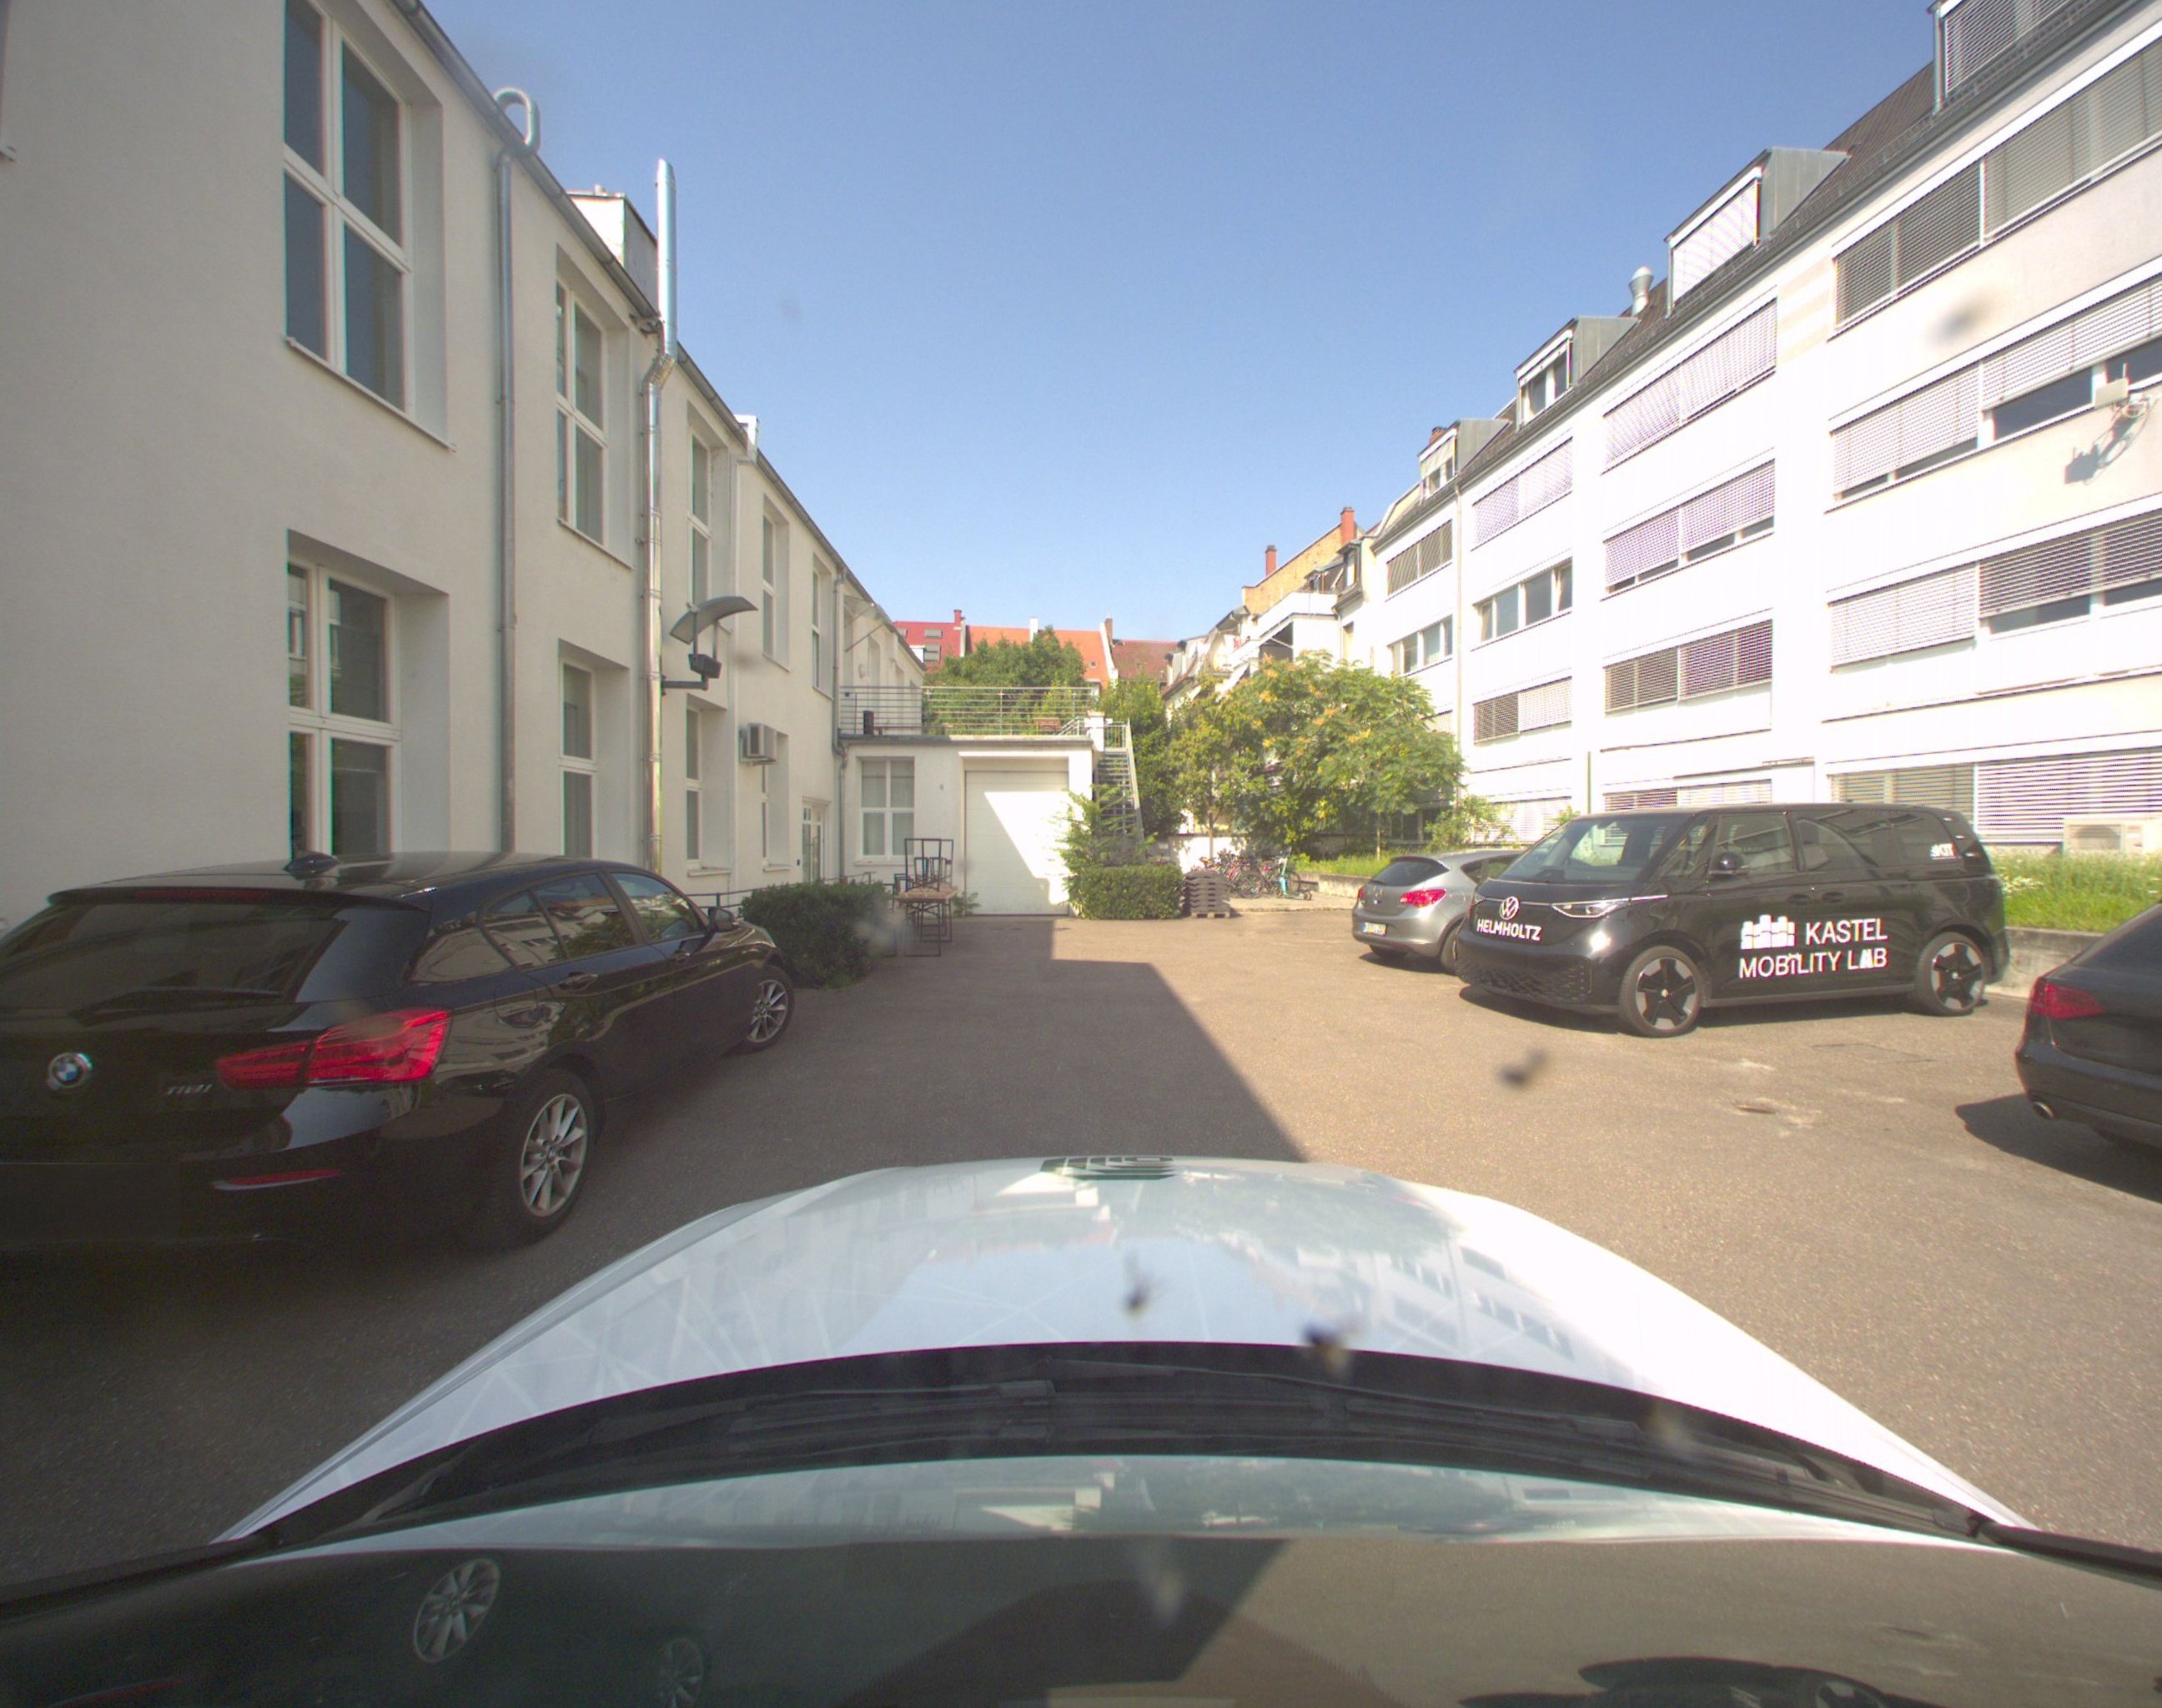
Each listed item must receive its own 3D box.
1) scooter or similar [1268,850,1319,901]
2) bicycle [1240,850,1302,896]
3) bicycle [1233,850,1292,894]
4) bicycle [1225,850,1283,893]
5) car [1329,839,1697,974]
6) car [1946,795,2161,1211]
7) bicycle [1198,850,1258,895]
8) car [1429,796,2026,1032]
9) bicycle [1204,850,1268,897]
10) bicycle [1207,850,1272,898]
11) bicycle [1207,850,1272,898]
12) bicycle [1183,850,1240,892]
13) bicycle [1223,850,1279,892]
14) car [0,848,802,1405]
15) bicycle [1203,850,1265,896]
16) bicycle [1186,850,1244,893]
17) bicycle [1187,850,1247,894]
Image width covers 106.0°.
[{"bbox_3d":[5.431,0.524,20.880,0.381,1.261,1.335,-1,0,-33],"label":"scooter or similar"},{"bbox_3d":[5.147,0.515,22.081,1.612,1.214,0.328,-1,0,13],"label":"bicycle"},{"bbox_3d":[5.103,0.514,22.940,1.612,1.214,0.425,-1,0,11],"label":"bicycle"},{"bbox_3d":[4.991,0.513,23.512,1.613,1.214,0.425,-1,0,10],"label":"bicycle"},{"bbox_3d":[5.423,0.587,10.434,3.934,1.482,1.768,-1,0,-11],"label":"car"},{"bbox_3d":[6.446,0.609,3.383,4.110,1.691,1.768,0,0,-5],"label":"car"},{"bbox_3d":[4.057,0.512,22.505,1.612,1.214,0.328,-1,0,11],"label":"bicycle"},{"bbox_3d":[5.825,0.433,7.563,4.502,1.794,1.876,-1,0,-11],"label":"car"},{"bbox_3d":[4.119,0.514,21.692,1.618,1.214,0.327,-1,0,-1],"label":"bicycle"},{"bbox_3d":[4.155,0.514,21.400,1.618,1.214,0.327,-1,0,-1],"label":"bicycle"},{"bbox_3d":[4.097,0.515,21.076,1.618,1.214,0.327,-1,0,-1],"label":"bicycle"},{"bbox_3d":[3.902,0.509,24.413,1.621,1.214,0.423,-1,0,-7],"label":"bicycle"},{"bbox_3d":[5.109,0.511,24.543,1.613,1.214,0.425,-1,0,10],"label":"bicycle"},{"bbox_3d":[-2.838,0.710,4.099,1.684,1.459,3.918,0,0,-3],"label":"car"},{"bbox_3d":[4.144,0.513,22.144,1.614,1.214,0.328,-1,0,8],"label":"bicycle"},{"bbox_3d":[3.921,0.510,23.812,1.621,1.214,0.423,-1,0,-8],"label":"bicycle"},{"bbox_3d":[3.853,0.511,23.175,1.619,1.214,0.424,-1,0,-3],"label":"bicycle"}]
